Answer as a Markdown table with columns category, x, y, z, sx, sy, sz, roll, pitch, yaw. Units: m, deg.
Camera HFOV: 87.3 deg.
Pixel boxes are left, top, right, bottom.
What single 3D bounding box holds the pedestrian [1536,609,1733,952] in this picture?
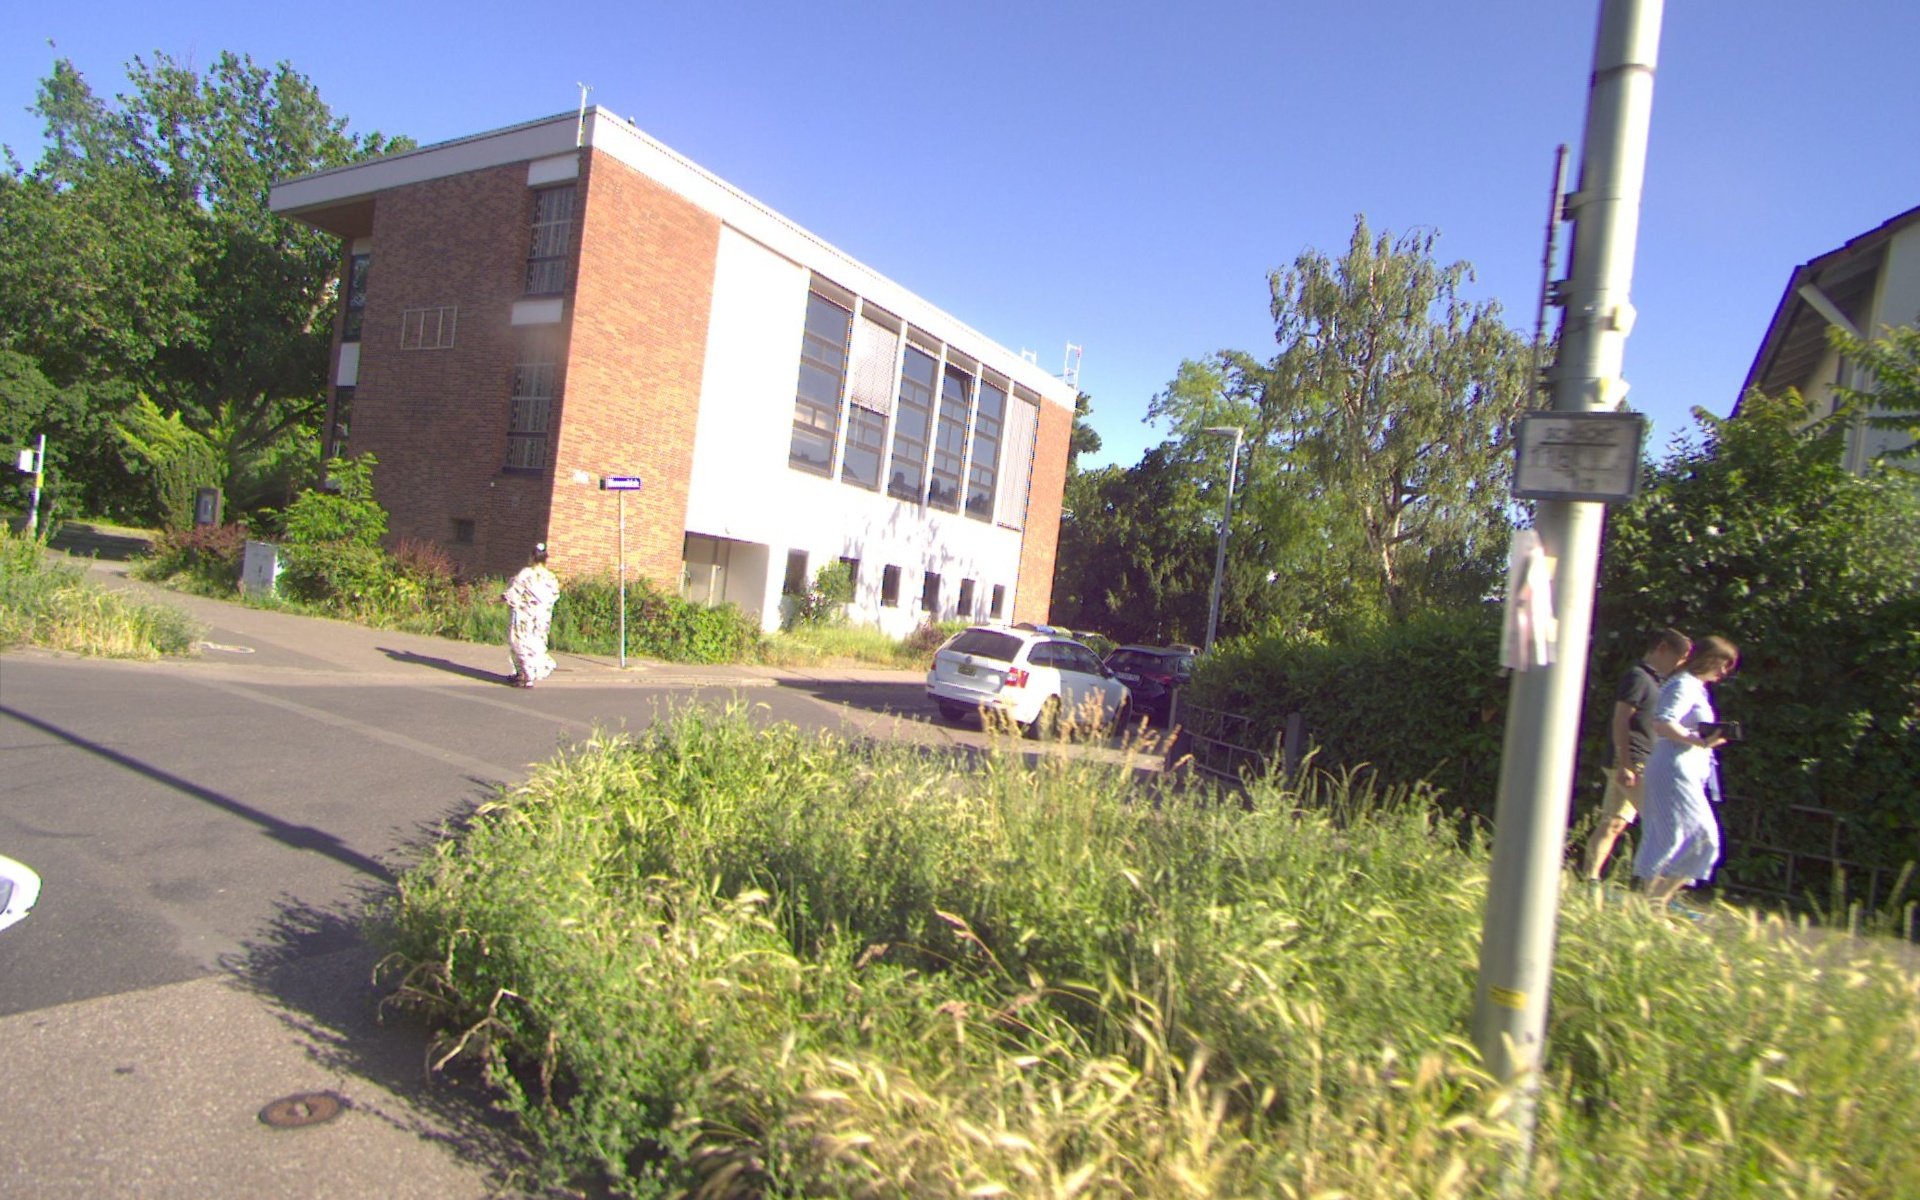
| category | x | y | z | sx | sy | sz | roll | pitch | yaw |
| --- | --- | --- | --- | --- | --- | --- | --- | --- | --- |
| pedestrian | 3.805 | 0.977 | 5.680 | 0.552 | 1.753 | 0.653 | 8 | -1 | -42 |

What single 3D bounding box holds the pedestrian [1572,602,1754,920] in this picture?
| category | x | y | z | sx | sy | sz | roll | pitch | yaw |
| --- | --- | --- | --- | --- | --- | --- | --- | --- | --- |
| pedestrian | 4.252 | 0.939 | 6.086 | 0.603 | 1.753 | 0.632 | 7 | -1 | -42 |

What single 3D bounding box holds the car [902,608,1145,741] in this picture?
| category | x | y | z | sx | sy | sz | roll | pitch | yaw |
| --- | --- | --- | --- | --- | --- | --- | --- | --- | --- |
| car | 1.128 | 1.139 | 15.345 | 1.776 | 1.521 | 4.199 | 8 | 0 | 32 |

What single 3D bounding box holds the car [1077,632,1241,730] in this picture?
| category | x | y | z | sx | sy | sz | roll | pitch | yaw |
| --- | --- | --- | --- | --- | --- | --- | --- | --- | --- |
| car | 4.067 | 1.606 | 20.047 | 1.776 | 1.521 | 3.948 | 8 | 0 | 32 |

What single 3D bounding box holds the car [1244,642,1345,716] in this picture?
| category | x | y | z | sx | sy | sz | roll | pitch | yaw |
| --- | --- | --- | --- | --- | --- | --- | --- | --- | --- |
| car | 9.984 | 2.361 | 29.880 | 1.776 | 1.815 | 3.948 | 8 | 0 | 32 |

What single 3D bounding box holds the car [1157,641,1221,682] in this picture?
| category | x | y | z | sx | sy | sz | roll | pitch | yaw |
| --- | --- | --- | --- | --- | --- | --- | --- | --- | --- |
| car | 10.478 | 2.826 | 45.854 | 1.793 | 1.536 | 3.998 | 6 | -2 | 27 |

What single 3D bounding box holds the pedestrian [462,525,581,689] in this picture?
| category | x | y | z | sx | sy | sz | roll | pitch | yaw |
| --- | --- | --- | --- | --- | --- | --- | --- | --- | --- |
| pedestrian | -5.276 | 0.091 | 12.115 | 0.726 | 1.843 | 0.898 | 6 | -1 | 41 |
